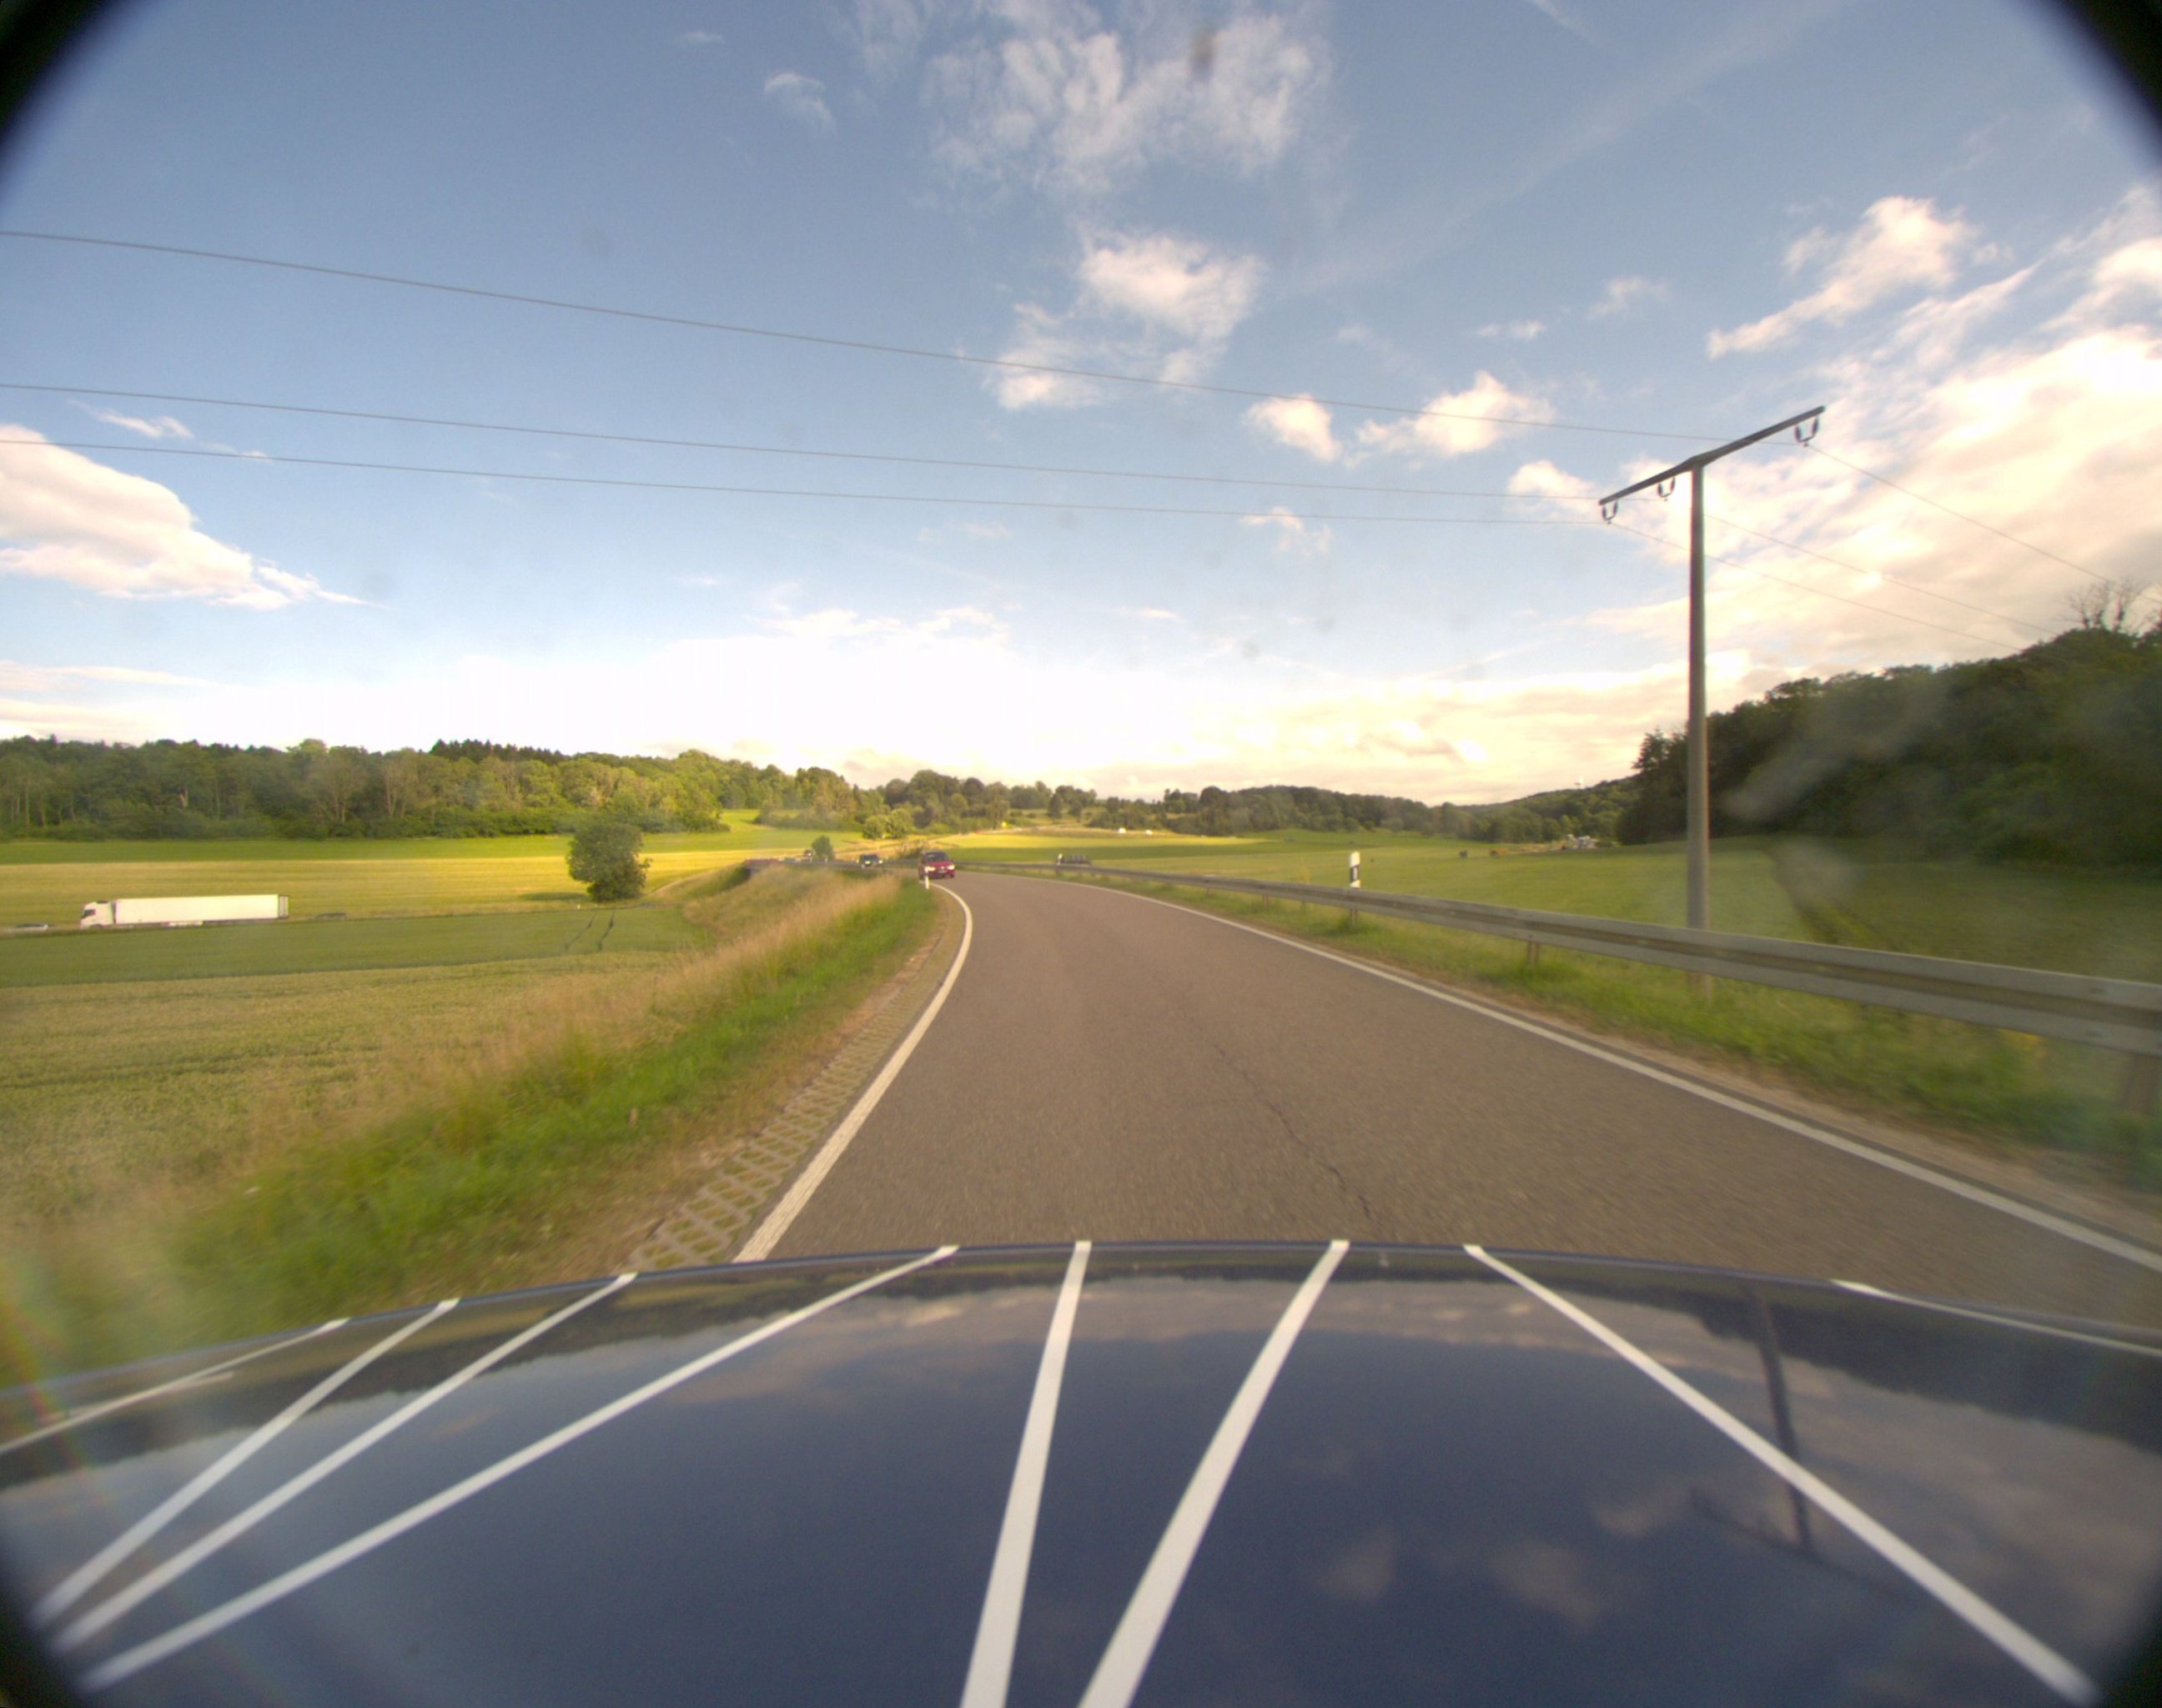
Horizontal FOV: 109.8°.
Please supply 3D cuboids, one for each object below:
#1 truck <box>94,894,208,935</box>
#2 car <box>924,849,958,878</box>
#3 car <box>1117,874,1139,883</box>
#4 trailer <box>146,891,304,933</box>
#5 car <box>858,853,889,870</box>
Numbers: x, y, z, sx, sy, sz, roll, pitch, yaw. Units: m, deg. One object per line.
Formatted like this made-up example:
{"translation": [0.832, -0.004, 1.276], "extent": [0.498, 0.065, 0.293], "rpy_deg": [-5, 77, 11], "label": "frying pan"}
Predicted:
{"translation": [-111.021, 7.137, 90.879], "extent": [8.066, 4.441, 3.024], "rpy_deg": [-1, -2, -26], "label": "truck"}
{"translation": [-9.122, 0.636, 49.305], "extent": [1.823, 1.645, 3.995], "rpy_deg": [-5, 0, -14], "label": "car"}
{"translation": [9.152, 4.793, 148.019], "extent": [4.007, 1.641, 1.823], "rpy_deg": [-2, 2, -34], "label": "car"}
{"translation": [-105.118, 7.055, 93.701], "extent": [12.743, 4.441, 3.027], "rpy_deg": [-1, -2, -26], "label": "trailer"}
{"translation": [-20.380, 0.784, 74.608], "extent": [1.825, 1.601, 3.990], "rpy_deg": [-1, 0, -32], "label": "car"}
